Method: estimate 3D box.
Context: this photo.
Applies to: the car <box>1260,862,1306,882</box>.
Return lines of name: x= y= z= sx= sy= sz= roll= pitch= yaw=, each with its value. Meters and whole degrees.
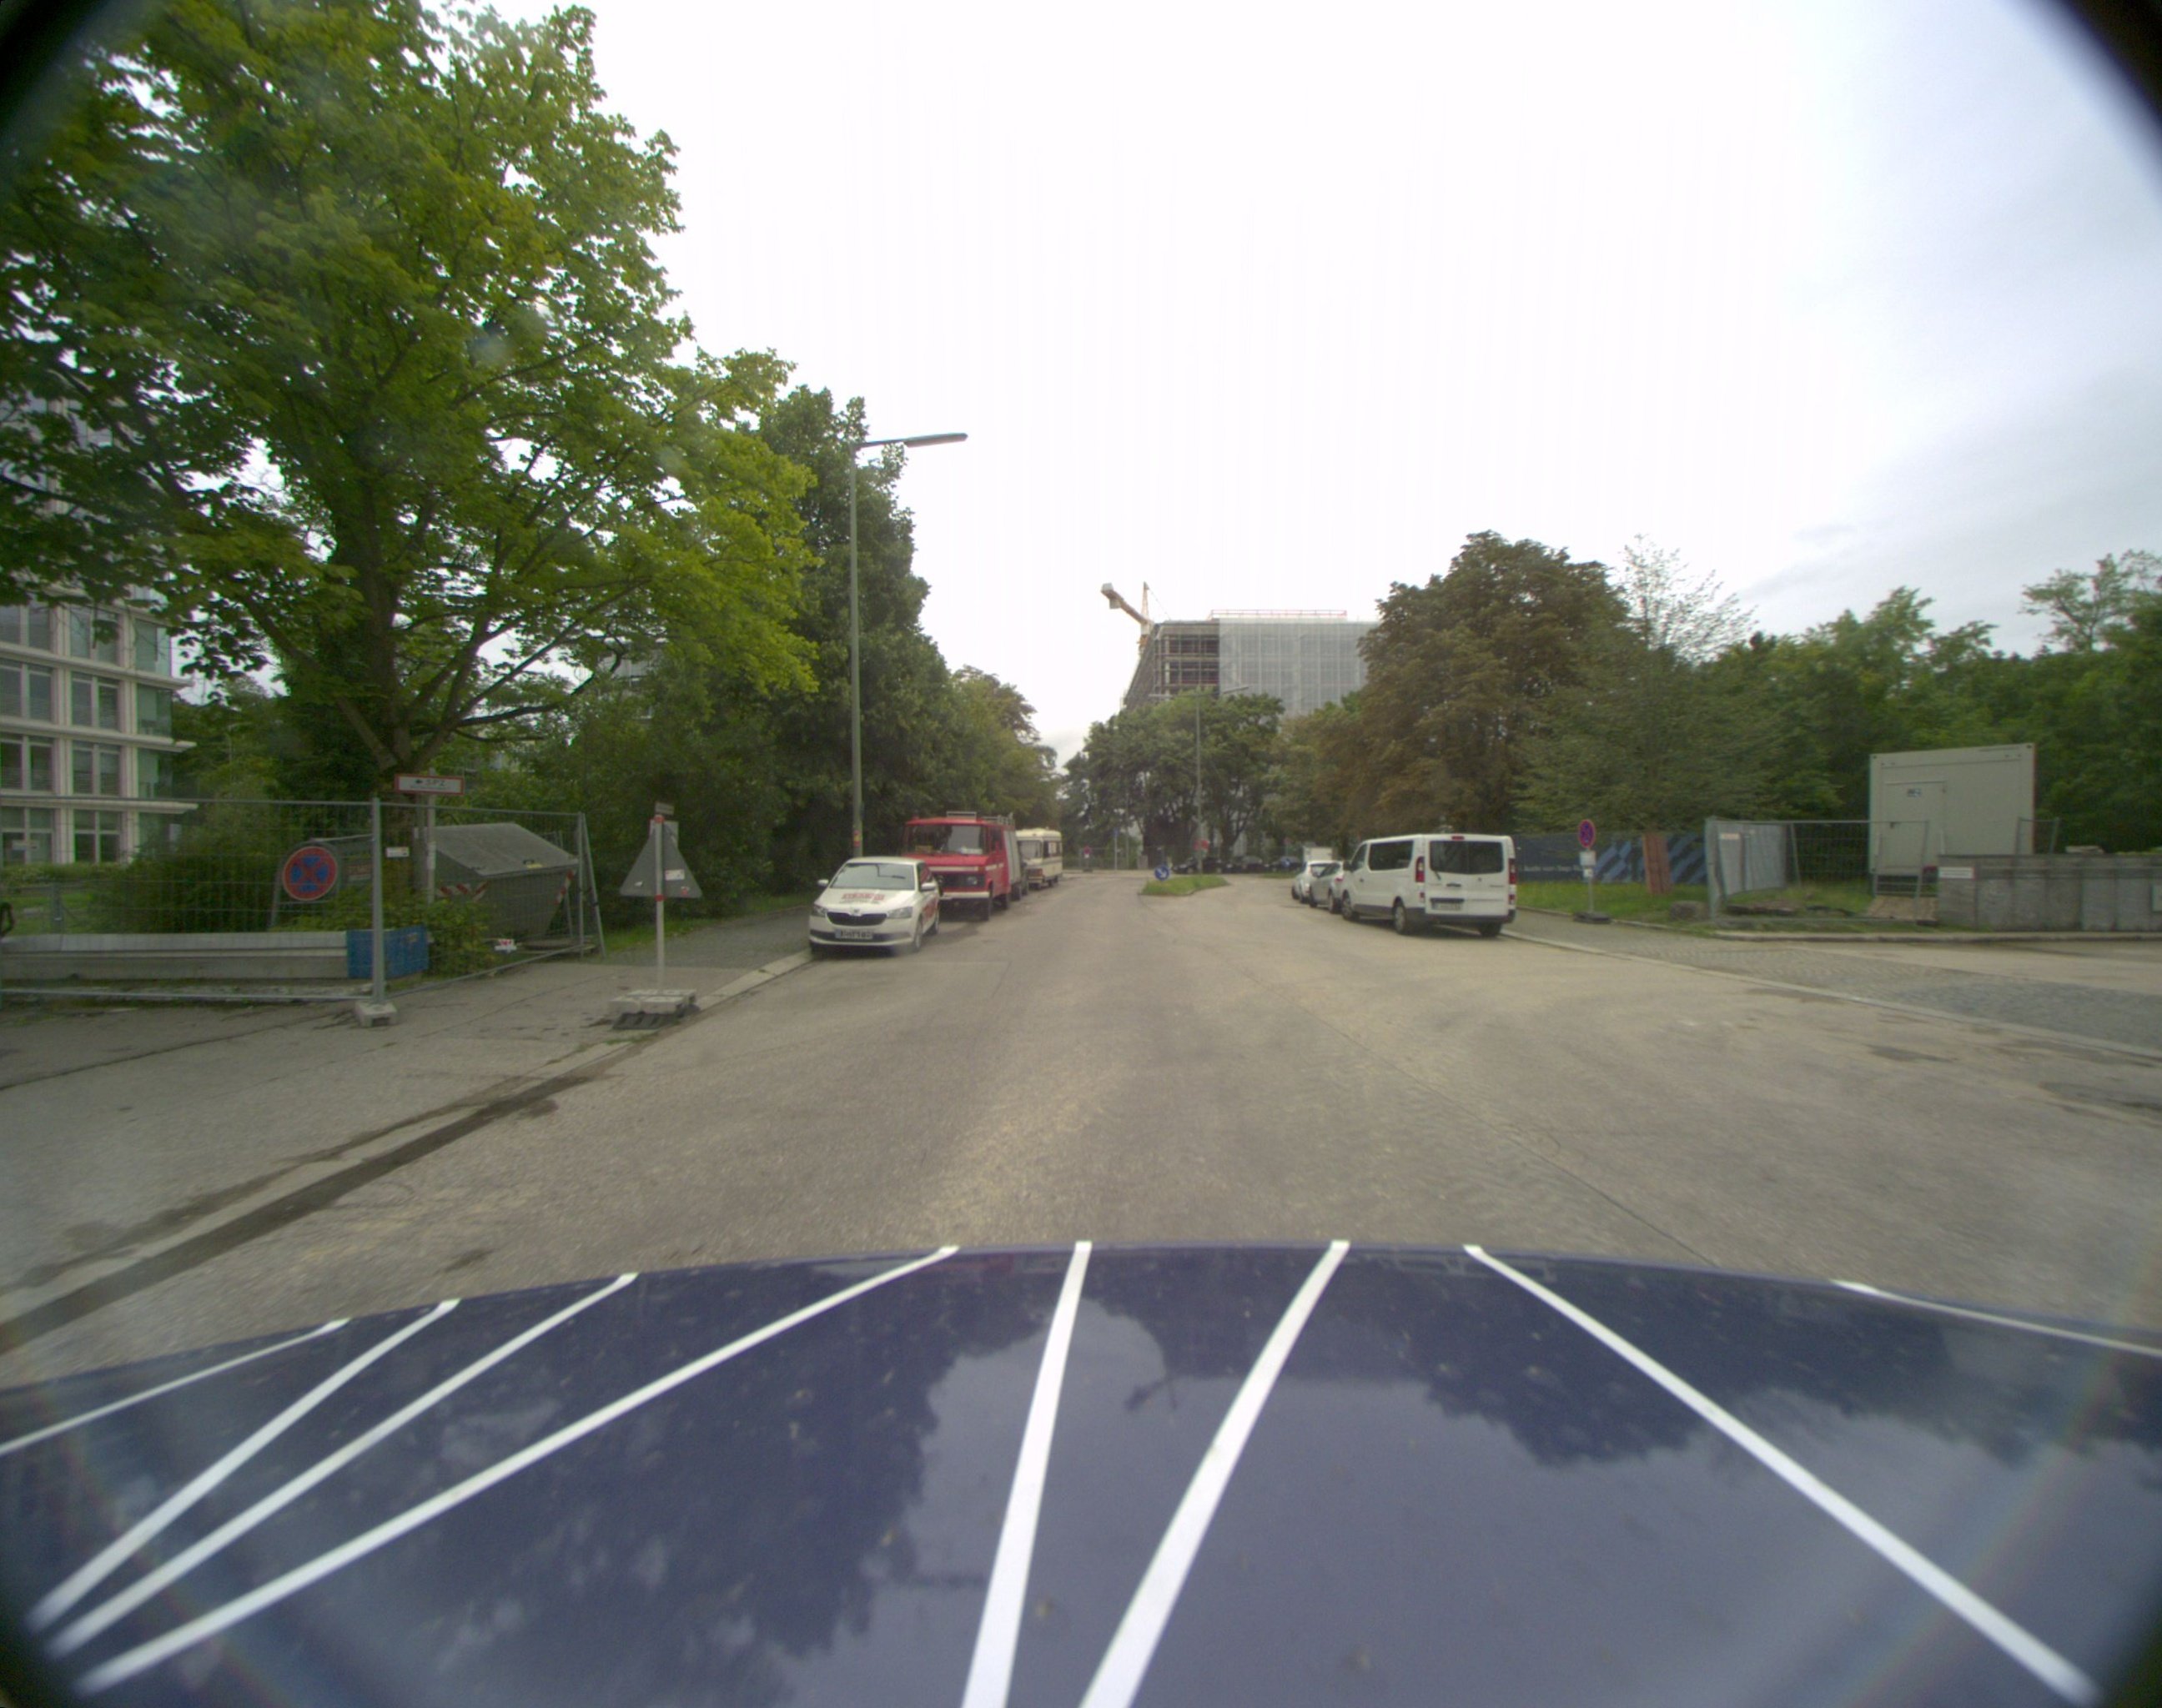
car: x=16.624 y=1.457 z=62.581 sx=3.267 sy=1.564 sz=1.656 roll=0 pitch=2 yaw=-23

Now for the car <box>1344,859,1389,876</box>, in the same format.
car: x=25.152 y=1.168 z=66.964 sx=3.724 sy=1.379 sz=1.517 roll=0 pitch=2 yaw=-23

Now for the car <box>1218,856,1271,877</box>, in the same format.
car: x=13.033 y=0.946 z=60.459 sx=3.892 sy=1.564 sz=1.785 roll=0 pitch=2 yaw=-29

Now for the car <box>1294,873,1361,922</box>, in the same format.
car: x=8.550 y=1.448 z=26.613 sx=1.740 sy=1.450 sz=4.035 roll=2 pitch=0 yaw=11

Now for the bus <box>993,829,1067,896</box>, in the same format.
bus: x=-2.127 y=0.336 z=33.659 sx=2.076 sy=2.714 sz=5.870 roll=0 pitch=0 yaw=8

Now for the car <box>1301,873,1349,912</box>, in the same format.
car: x=10.095 y=1.559 z=31.638 sx=1.692 sy=1.403 sz=3.800 roll=2 pitch=0 yaw=15

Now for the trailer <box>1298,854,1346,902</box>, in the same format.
trailer: x=11.555 y=1.094 z=36.290 sx=1.778 sy=2.169 sz=2.781 roll=2 pitch=1 yaw=25

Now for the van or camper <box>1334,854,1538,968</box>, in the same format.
van or camper: x=7.321 y=1.046 z=16.493 sx=1.994 sy=2.022 sz=5.588 roll=1 pitch=0 yaw=2

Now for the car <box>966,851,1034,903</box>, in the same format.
car: x=-2.701 y=0.750 z=26.288 sx=1.782 sy=1.630 sz=4.398 roll=0 pitch=0 yaw=1

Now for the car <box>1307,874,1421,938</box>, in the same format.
car: x=7.855 y=1.393 z=21.545 sx=1.997 sy=1.450 sz=4.121 roll=2 pitch=0 yaw=5

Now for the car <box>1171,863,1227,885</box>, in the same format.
car: x=9.031 y=1.490 z=58.260 sx=3.891 sy=1.564 sz=1.786 roll=0 pitch=2 yaw=-24

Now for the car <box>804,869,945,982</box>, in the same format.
car: x=-3.368 y=1.082 z=13.090 sx=1.536 sy=1.483 sz=4.059 roll=0 pitch=1 yaw=-4

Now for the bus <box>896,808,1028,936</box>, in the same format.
bus: x=-2.821 y=0.392 z=19.717 sx=2.077 sy=2.789 sz=6.273 roll=0 pitch=0 yaw=3
